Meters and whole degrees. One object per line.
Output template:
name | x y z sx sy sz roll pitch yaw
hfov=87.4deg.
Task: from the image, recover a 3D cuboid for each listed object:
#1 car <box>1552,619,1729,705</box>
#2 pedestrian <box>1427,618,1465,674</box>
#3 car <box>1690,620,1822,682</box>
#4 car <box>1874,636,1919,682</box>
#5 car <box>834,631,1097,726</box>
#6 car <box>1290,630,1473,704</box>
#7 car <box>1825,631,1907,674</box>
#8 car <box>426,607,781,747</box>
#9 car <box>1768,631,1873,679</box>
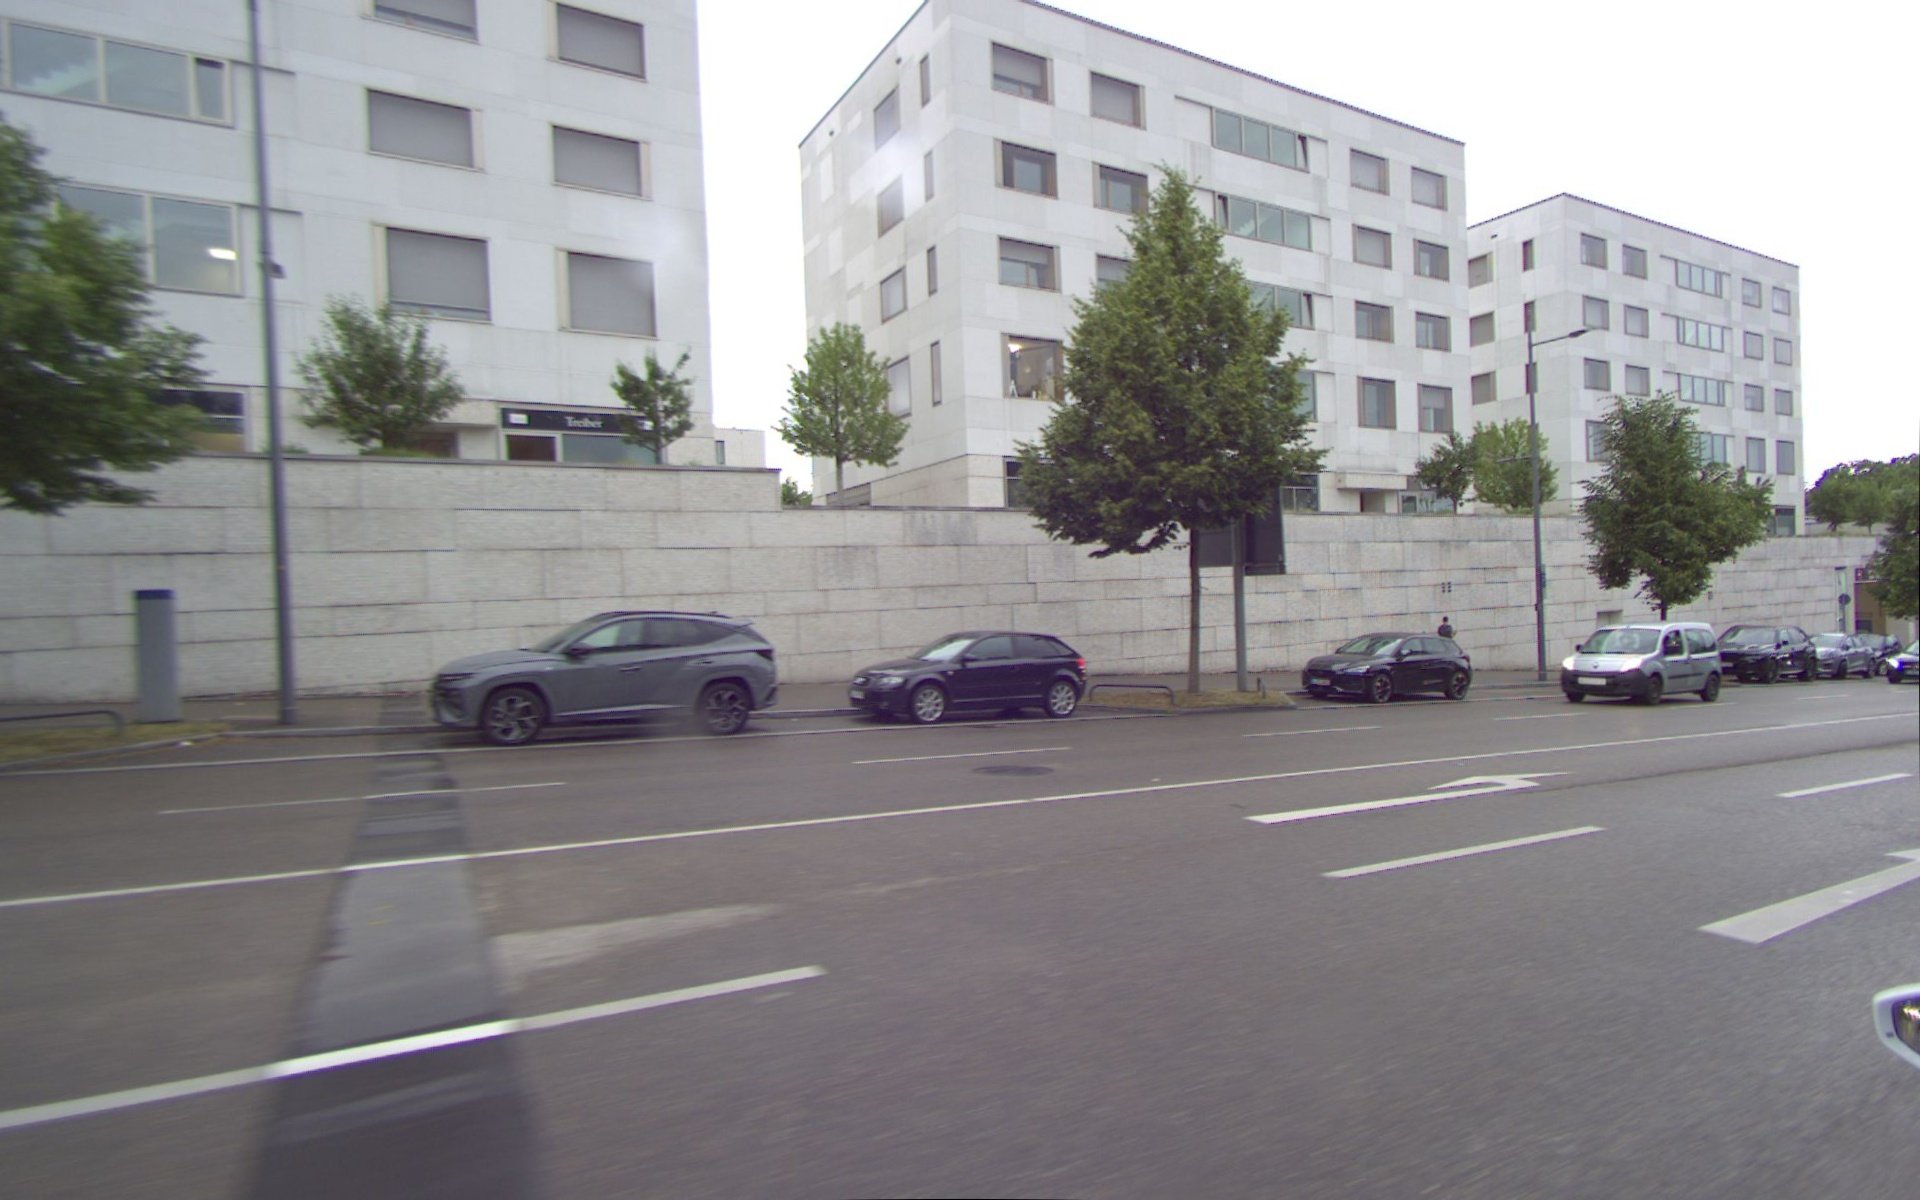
car | 15.313 1.324 22.541 4.289 1.769 1.701 1 -1 -32
pedestrian | 16.025 1.512 33.134 1.009 1.798 0.704 1 -1 -31
car | 25.135 1.558 31.696 4.545 1.804 1.847 1 -1 -32
car | 31.240 1.868 32.181 4.142 1.399 1.762 1 -3 -31
car | 0.132 1.227 16.738 4.113 1.378 1.687 1 -1 -30
car | 9.286 1.431 22.073 3.918 1.445 1.671 1 0 -30
car | 34.543 1.969 38.299 2.945 1.535 1.501 1 0 -30
car | -4.781 0.974 13.664 4.311 1.642 1.695 2 -1 -31
car | 29.707 1.865 34.666 3.667 1.535 1.671 1 0 -31
